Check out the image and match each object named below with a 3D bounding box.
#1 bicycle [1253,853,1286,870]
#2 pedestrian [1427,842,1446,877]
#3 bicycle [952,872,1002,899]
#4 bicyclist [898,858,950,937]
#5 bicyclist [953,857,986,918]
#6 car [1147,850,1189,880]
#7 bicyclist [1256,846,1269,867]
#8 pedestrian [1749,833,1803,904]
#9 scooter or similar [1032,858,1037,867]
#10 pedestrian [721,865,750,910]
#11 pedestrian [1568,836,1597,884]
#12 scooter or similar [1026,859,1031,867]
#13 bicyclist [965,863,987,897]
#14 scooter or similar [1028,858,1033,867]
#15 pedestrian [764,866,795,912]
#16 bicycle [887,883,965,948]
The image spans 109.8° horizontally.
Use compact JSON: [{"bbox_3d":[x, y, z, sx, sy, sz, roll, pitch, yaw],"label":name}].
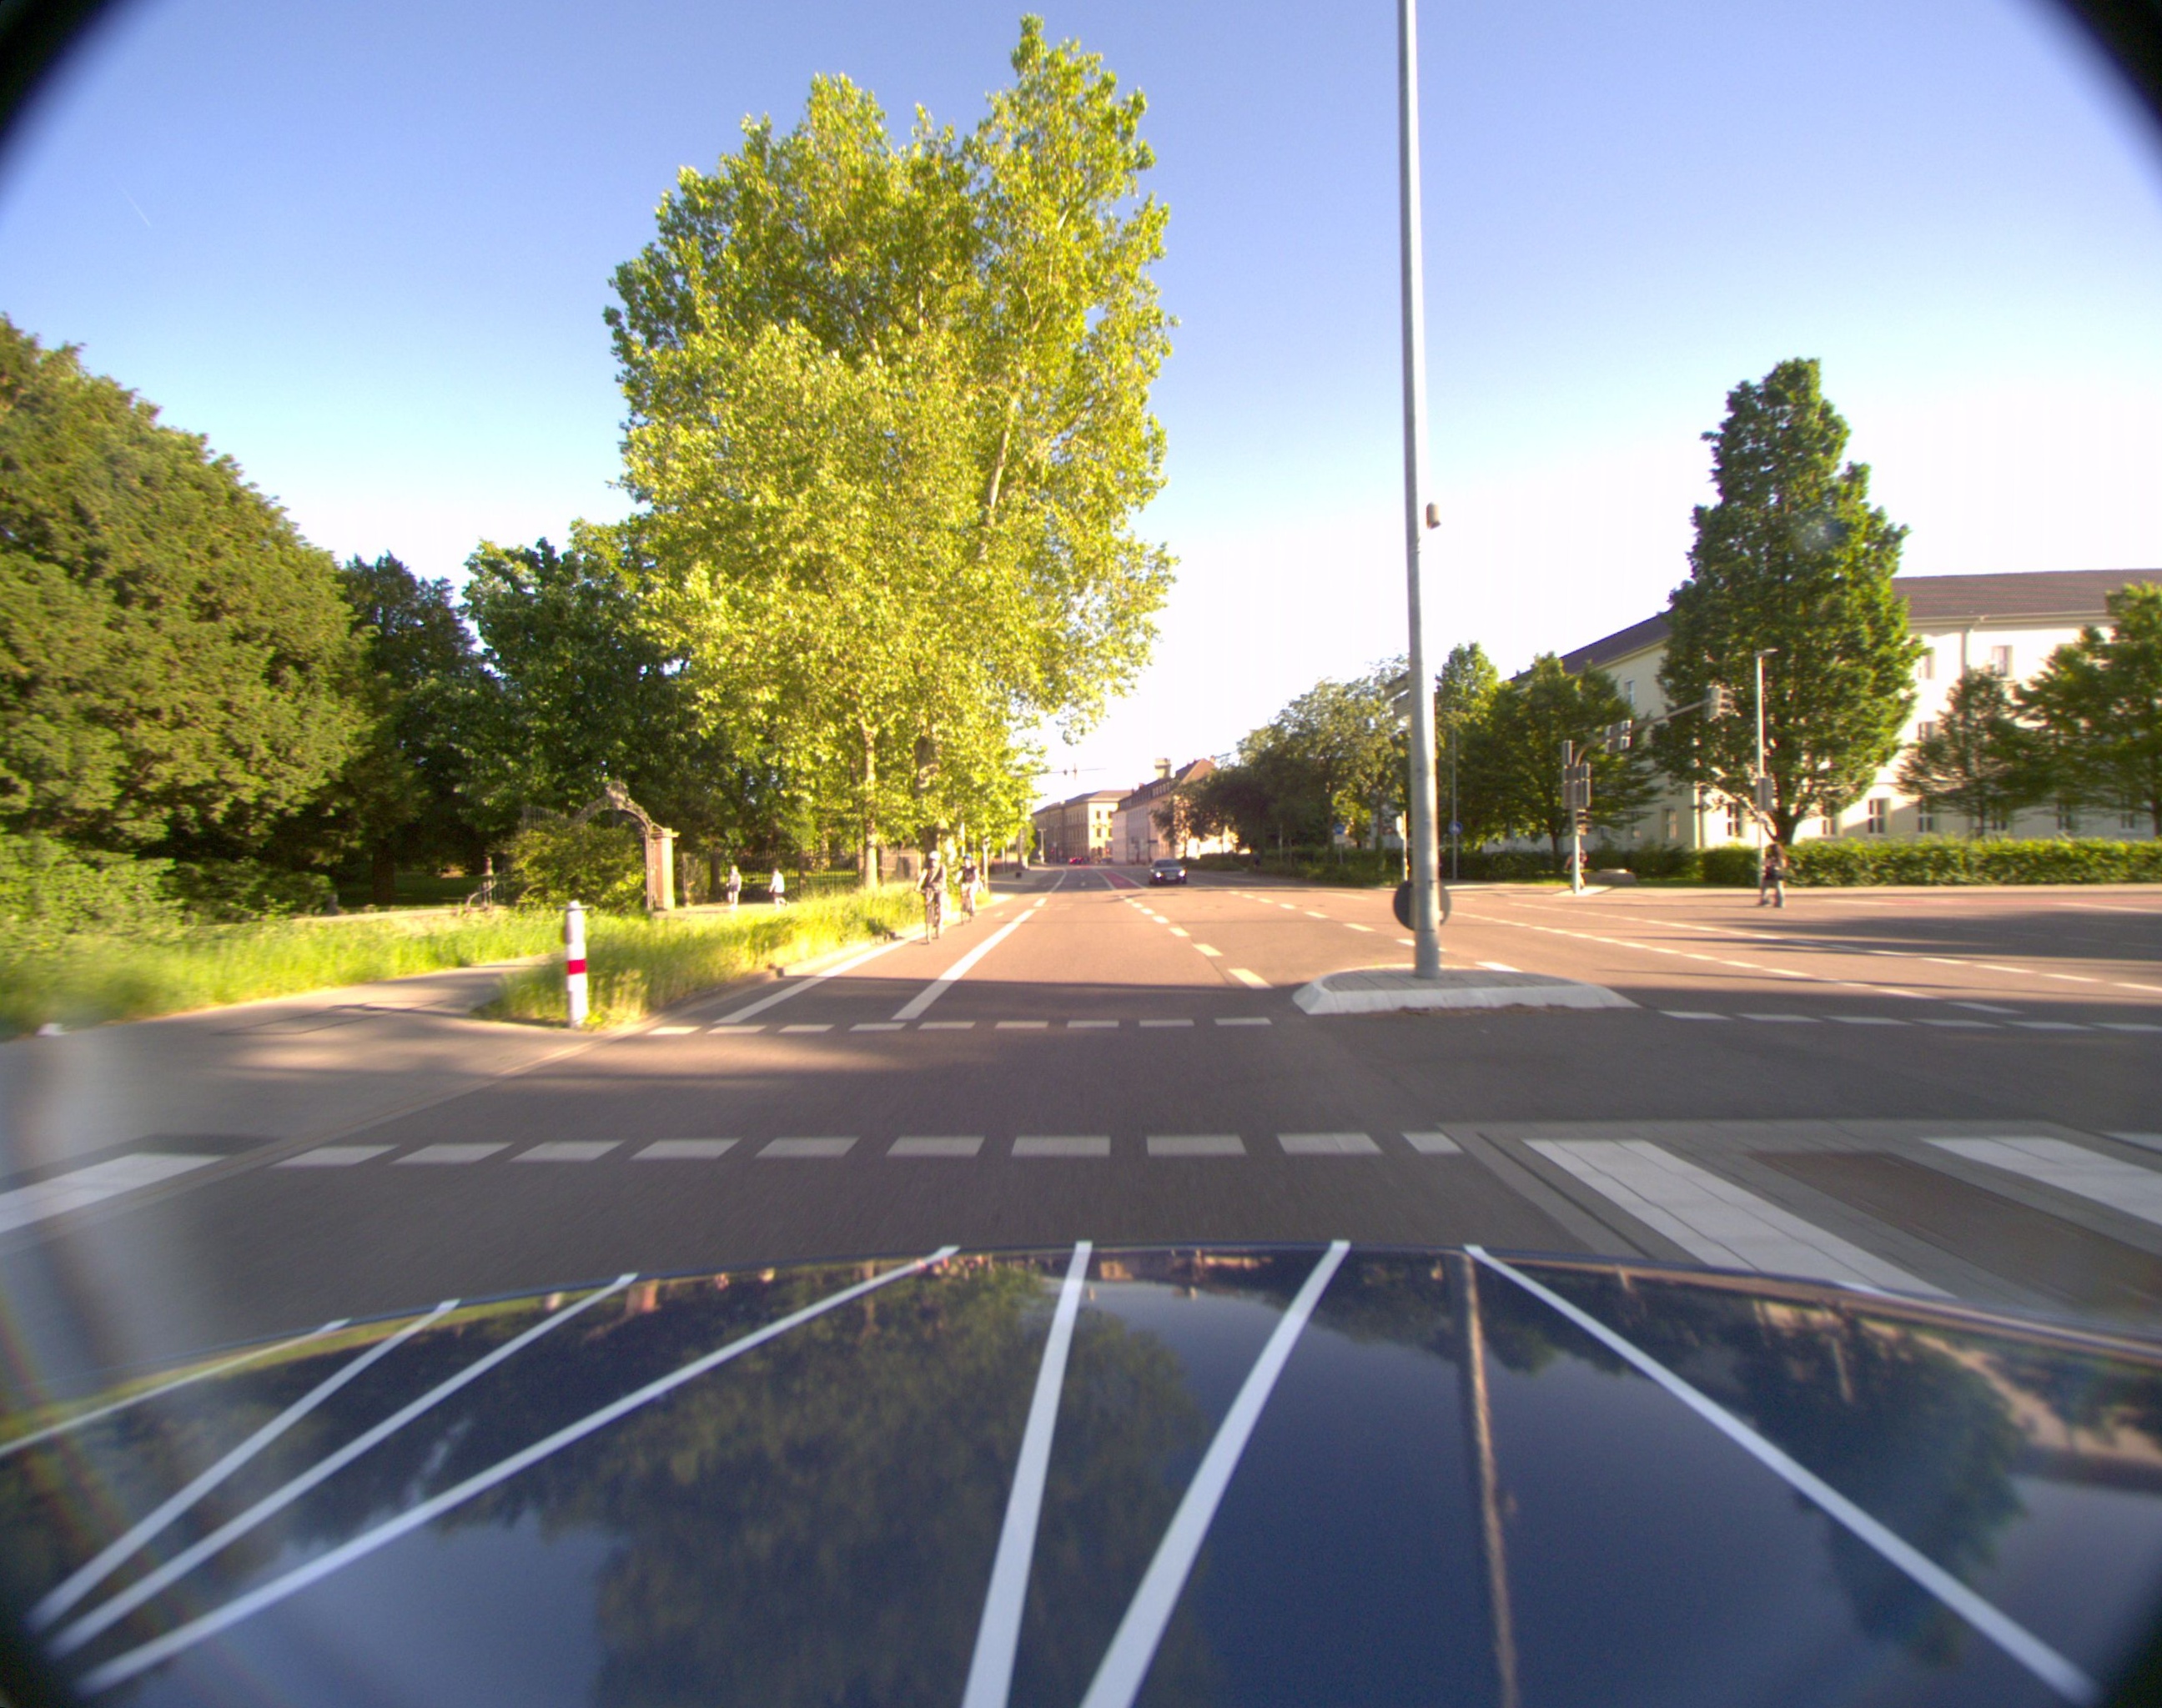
[{"bbox_3d":[13.123,0.504,52.983,2.186,1.110,0.699,-1,1,10],"label":"bicycle"},{"bbox_3d":[17.359,0.268,37.097,0.691,1.672,0.681,-1,1,9],"label":"pedestrian"},{"bbox_3d":[-4.466,1.353,32.791,1.988,1.089,0.696,-1,1,7],"label":"bicycle"},{"bbox_3d":[-3.035,0.834,14.777,0.694,1.482,0.801,-1,1,12],"label":"bicyclist"},{"bbox_3d":[-2.824,0.831,19.284,0.695,1.493,0.892,-1,1,-2],"label":"bicyclist"},{"bbox_3d":[4.637,0.590,41.081,1.722,1.409,4.527,-4,0,1],"label":"car"},{"bbox_3d":[12.662,0.183,53.054,0.757,1.457,0.699,-1,1,9],"label":"bicyclist"},{"bbox_3d":[18.076,0.363,19.779,0.744,1.805,0.727,-1,1,9],"label":"pedestrian"},{"bbox_3d":[-5.854,1.096,95.802,0.416,1.035,1.779,-3,1,1],"label":"scooter or similar"},{"bbox_3d":[-12.781,1.216,28.139,0.691,1.624,0.681,-1,1,9],"label":"pedestrian"},{"bbox_3d":[19.249,0.222,29.161,0.691,1.805,0.681,-1,1,9],"label":"pedestrian"},{"bbox_3d":[-6.471,1.102,93.307,0.416,1.035,1.779,-3,1,1],"label":"scooter or similar"},{"bbox_3d":[-4.531,1.125,32.789,0.766,1.439,0.696,-1,1,8],"label":"bicyclist"},{"bbox_3d":[-6.348,1.090,95.826,0.416,1.035,1.779,-3,1,1],"label":"scooter or similar"},{"bbox_3d":[-10.319,1.200,26.042,0.691,1.537,0.681,-1,1,9],"label":"pedestrian"},{"bbox_3d":[-3.006,1.173,14.954,0.694,1.089,2.138,-1,0,12],"label":"bicycle"}]
